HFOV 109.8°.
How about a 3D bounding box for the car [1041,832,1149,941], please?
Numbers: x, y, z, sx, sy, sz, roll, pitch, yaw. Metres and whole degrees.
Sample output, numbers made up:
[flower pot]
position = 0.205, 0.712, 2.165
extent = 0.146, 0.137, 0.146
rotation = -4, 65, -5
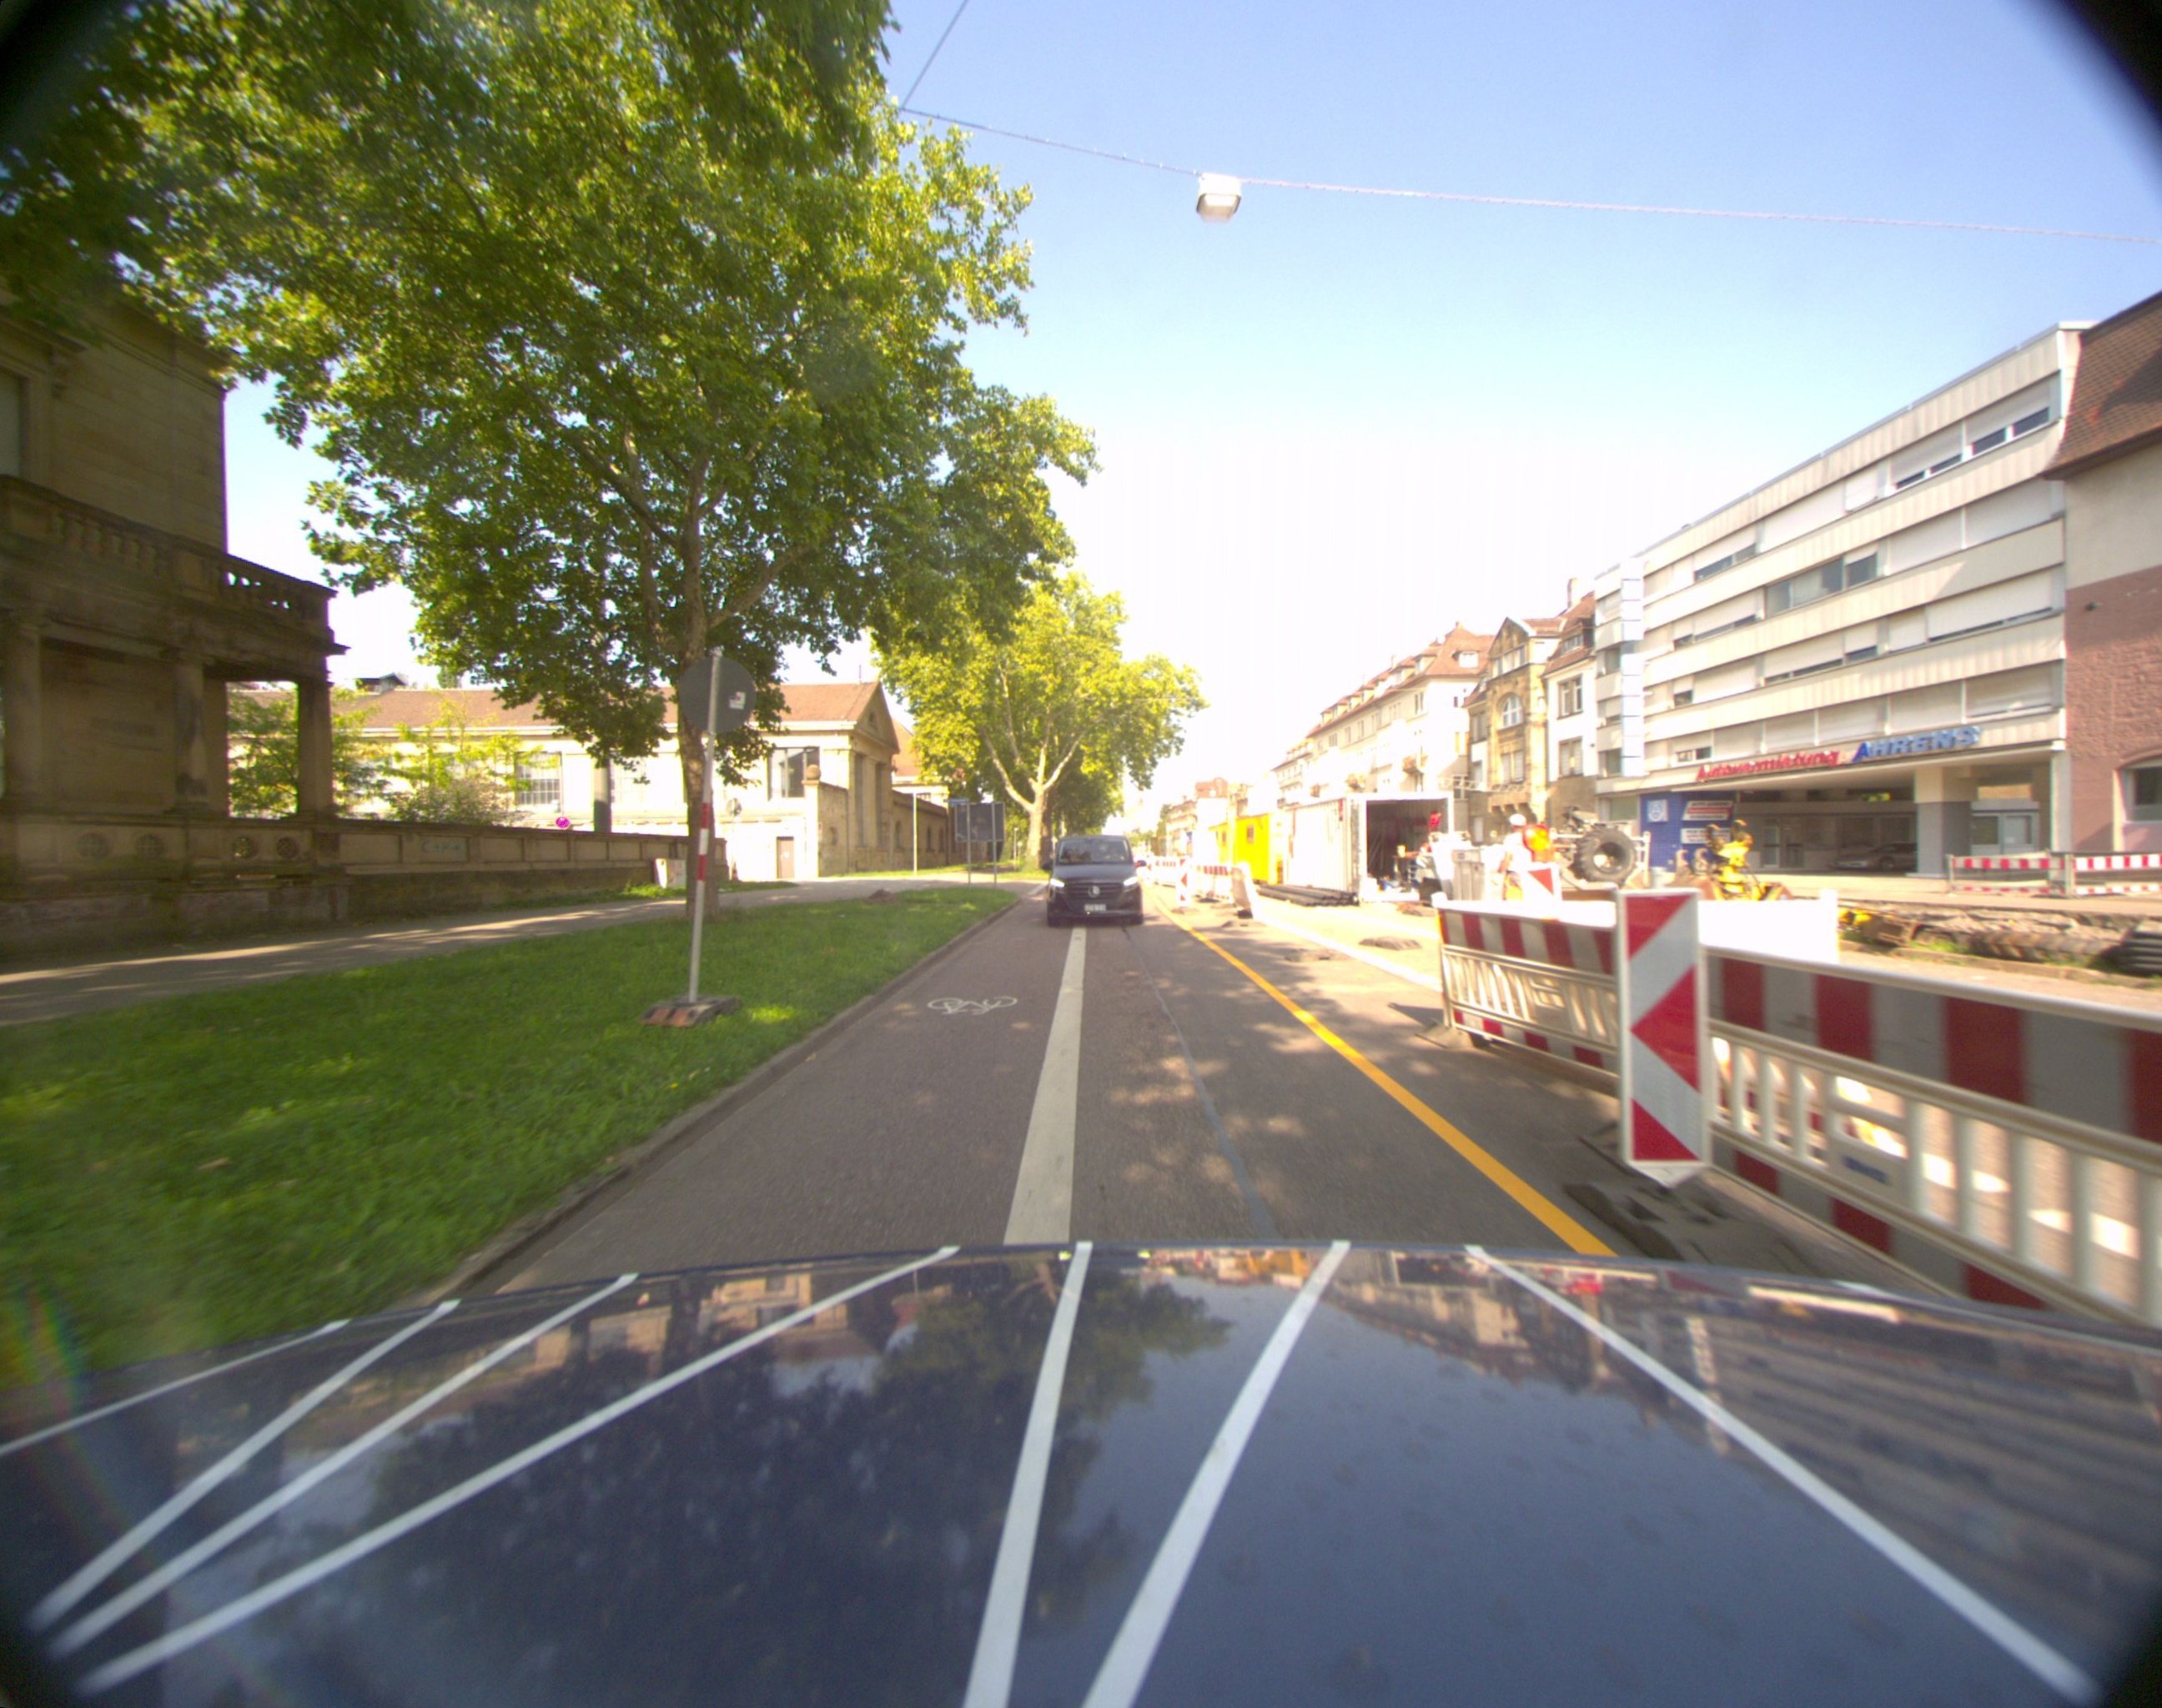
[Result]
[car]
position = 0.273, 0.560, 15.524
extent = 1.853, 1.875, 4.178
rotation = -2, 1, 1

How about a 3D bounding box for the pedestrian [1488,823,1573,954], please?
[pedestrian]
position = 6.293, 0.471, 10.669
extent = 0.804, 1.787, 0.595
rotation = 0, 1, -6
